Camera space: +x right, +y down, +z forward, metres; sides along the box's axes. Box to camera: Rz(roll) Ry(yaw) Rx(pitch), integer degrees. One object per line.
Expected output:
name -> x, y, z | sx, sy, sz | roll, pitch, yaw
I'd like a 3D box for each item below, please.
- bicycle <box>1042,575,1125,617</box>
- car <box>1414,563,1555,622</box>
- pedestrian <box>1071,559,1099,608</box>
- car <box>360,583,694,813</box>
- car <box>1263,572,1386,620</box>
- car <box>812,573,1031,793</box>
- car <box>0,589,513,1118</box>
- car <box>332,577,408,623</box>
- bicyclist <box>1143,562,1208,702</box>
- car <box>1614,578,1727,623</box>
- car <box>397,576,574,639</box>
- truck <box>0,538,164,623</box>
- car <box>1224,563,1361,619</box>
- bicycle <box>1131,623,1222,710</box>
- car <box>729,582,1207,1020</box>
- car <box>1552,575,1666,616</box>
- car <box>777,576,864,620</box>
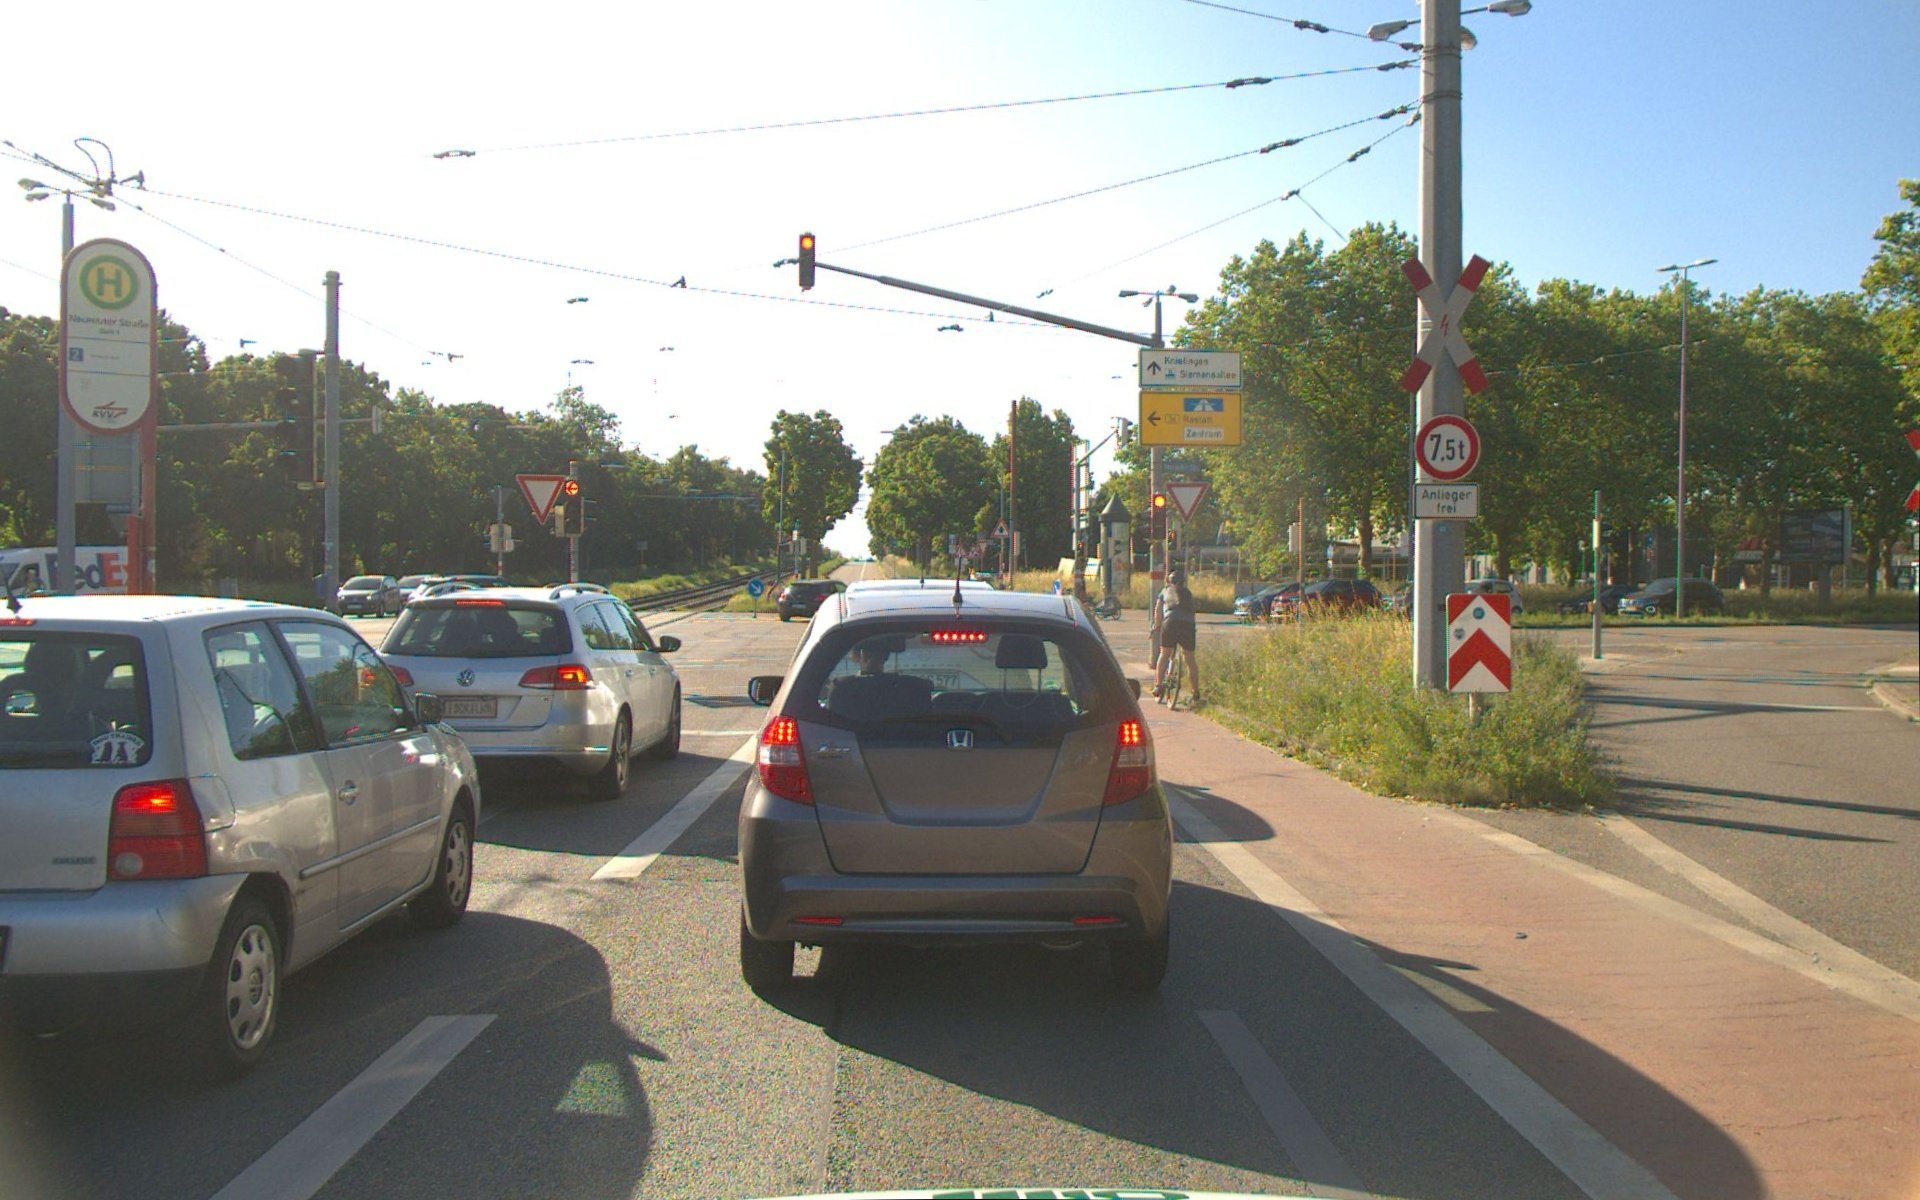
bicycle -> 4.784, -0.168, 63.861 | 3.159, 1.602, 0.816 | 0, 0, -22
car -> 19.029, -0.285, 59.989 | 4.823, 2.049, 1.985 | -1, 0, -24
pedestrian -> 4.820, -0.652, 63.838 | 0.840, 1.868, 0.785 | 0, 0, -22
car -> -3.151, 0.644, 12.833 | 1.586, 1.482, 4.084 | 1, 0, -1
car -> 12.387, -0.155, 56.222 | 3.934, 1.557, 1.594 | -1, 1, -24
car -> -0.330, 0.587, 14.094 | 1.578, 1.589, 4.287 | 0, 0, -1
car -> -2.893, 0.700, 6.193 | 1.586, 1.442, 3.350 | 0, 0, -1
car -> -21.309, -0.015, 59.857 | 1.798, 1.575, 3.993 | 0, 0, -8
bicyclist -> 2.770, 0.409, 21.312 | 0.652, 1.746, 0.948 | 1, 0, -2
car -> 25.398, 0.007, 59.110 | 3.921, 1.571, 1.579 | -1, 0, -26
car -> -11.845, 0.166, 41.403 | 3.968, 1.504, 1.688 | -1, 1, -43
truck -> -29.378, -0.627, 53.851 | 1.952, 2.610, 6.825 | 0, 0, 20
car -> 12.183, -0.321, 60.554 | 4.626, 1.912, 1.985 | 2, 0, -24
bicycle -> 2.758, 0.822, 21.391 | 0.707, 1.006, 2.875 | 1, 0, -2
car -> -0.060, 0.673, 7.462 | 1.635, 1.487, 3.584 | 0, 0, -3
car -> 26.433, -0.192, 67.332 | 4.450, 1.601, 1.681 | -1, 0, -24
car -> -4.550, -0.074, 54.464 | 1.491, 1.403, 3.677 | 0, 0, 20
